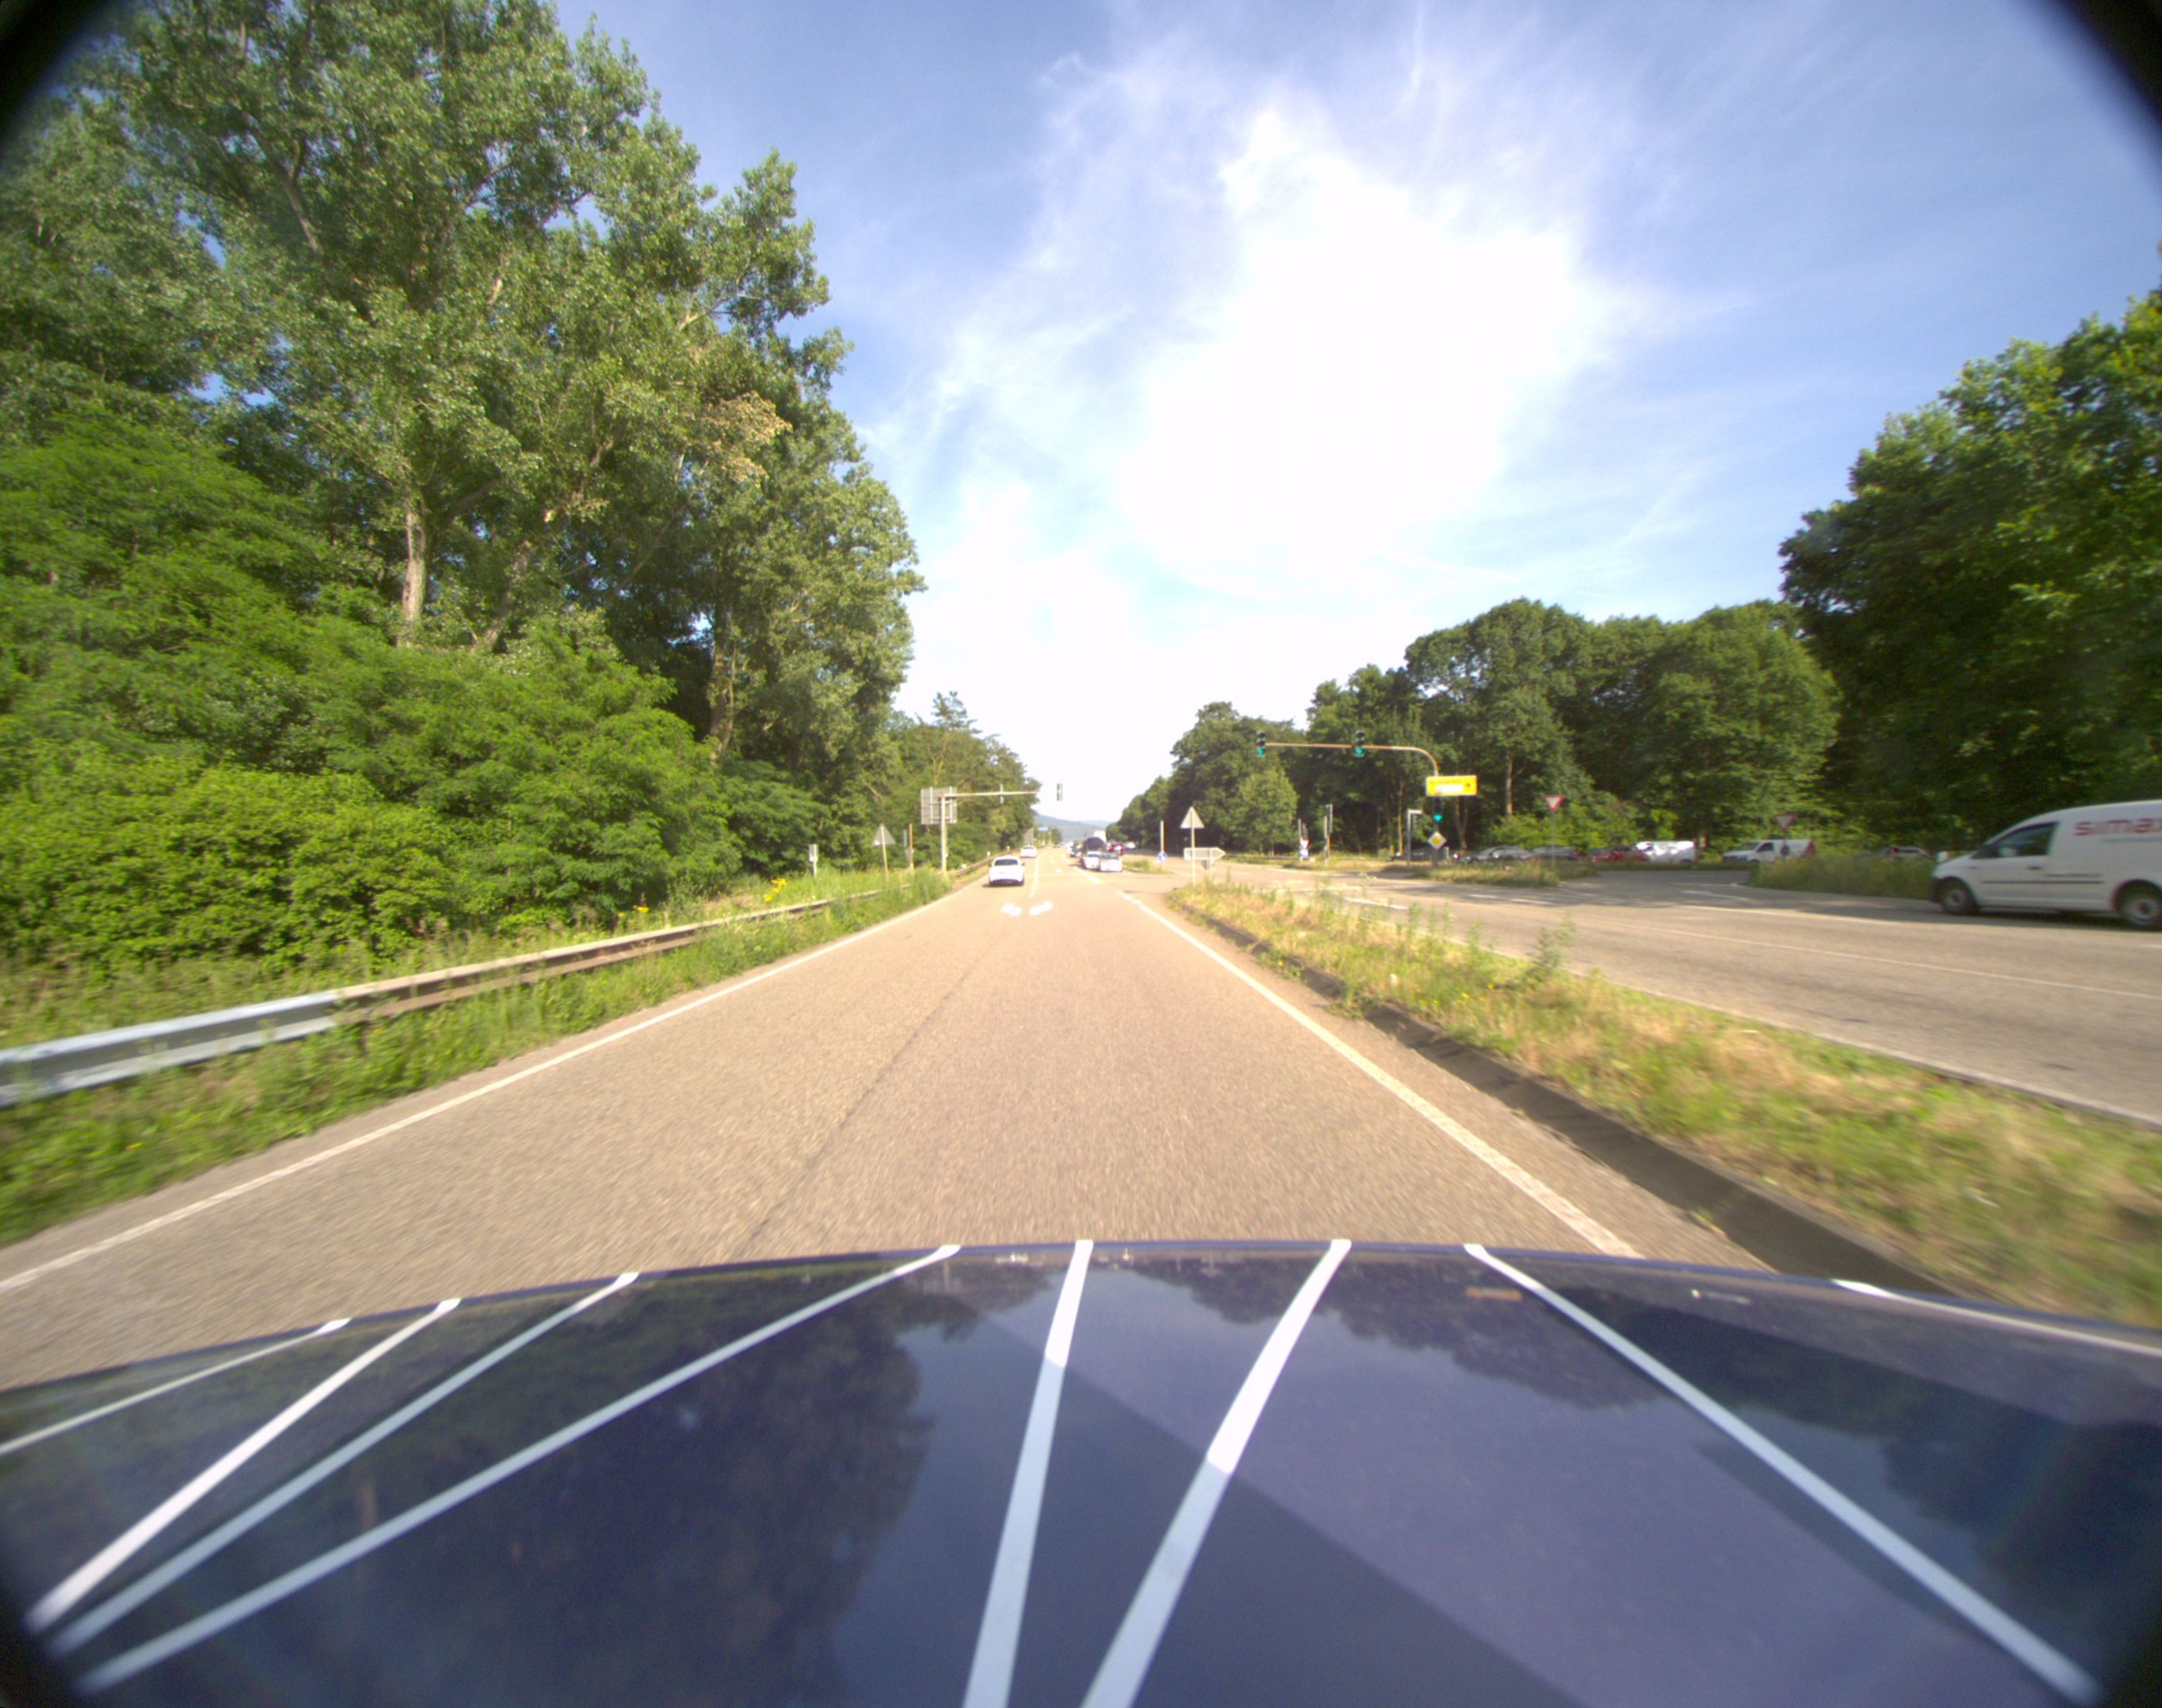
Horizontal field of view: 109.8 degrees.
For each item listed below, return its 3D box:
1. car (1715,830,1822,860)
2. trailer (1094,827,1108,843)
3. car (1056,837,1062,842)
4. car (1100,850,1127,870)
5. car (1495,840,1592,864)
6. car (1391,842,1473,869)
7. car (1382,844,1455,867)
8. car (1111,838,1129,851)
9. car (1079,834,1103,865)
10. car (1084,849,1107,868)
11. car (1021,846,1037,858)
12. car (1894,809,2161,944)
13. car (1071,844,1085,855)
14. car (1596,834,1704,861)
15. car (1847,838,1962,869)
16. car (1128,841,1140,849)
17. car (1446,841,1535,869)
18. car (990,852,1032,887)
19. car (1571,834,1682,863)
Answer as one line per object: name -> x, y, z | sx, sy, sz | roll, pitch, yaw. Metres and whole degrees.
car -> 43.805, -0.573, 48.497 | 4.647, 1.717, 2.192 | -2, 1, 6
trailer -> 5.367, -4.990, 202.047 | 2.999, 3.973, 14.009 | -2, 1, -1
car -> -5.806, -3.775, 200.878 | 1.498, 1.346, 3.552 | -3, 1, -3
car -> 2.420, 0.441, 58.111 | 1.739, 1.413, 4.800 | 0, 1, -2
car -> 30.924, -0.142, 50.947 | 5.194, 1.335, 2.054 | -2, 1, 17
car -> 22.782, 0.091, 49.467 | 4.416, 1.482, 2.001 | -2, 1, 7
car -> 23.967, 0.121, 53.967 | 4.550, 1.482, 2.003 | -2, 2, 29
car -> 5.531, -1.391, 107.195 | 2.082, 1.753, 4.754 | 0, 1, -3
car -> 0.920, -0.476, 72.591 | 2.215, 2.872, 7.009 | 0, 1, 0
car -> 1.193, 0.385, 63.967 | 1.650, 1.481, 4.102 | 0, 1, -2
car -> -7.263, -0.282, 106.714 | 1.999, 1.633, 3.998 | -3, 1, -2
car -> 15.556, 0.237, 11.572 | 1.854, 1.776, 4.672 | -2, 1, 9
car -> -0.404, -0.680, 108.911 | 1.861, 1.453, 4.568 | -2, 1, 0
car -> 36.884, -0.437, 49.407 | 5.064, 1.482, 2.447 | -2, 1, 6
car -> 51.656, -0.037, 47.736 | 4.647, 1.717, 2.135 | -2, 1, 6
car -> 10.611, -1.790, 152.342 | 1.888, 1.495, 4.263 | 1, 1, -2
car -> 24.982, 0.011, 46.444 | 4.420, 1.482, 1.999 | -3, 1, -4
car -> -3.768, 0.799, 41.440 | 1.875, 1.625, 4.832 | -3, 1, -1
car -> 32.772, -0.351, 45.777 | 4.983, 1.482, 2.208 | -2, 1, 5
